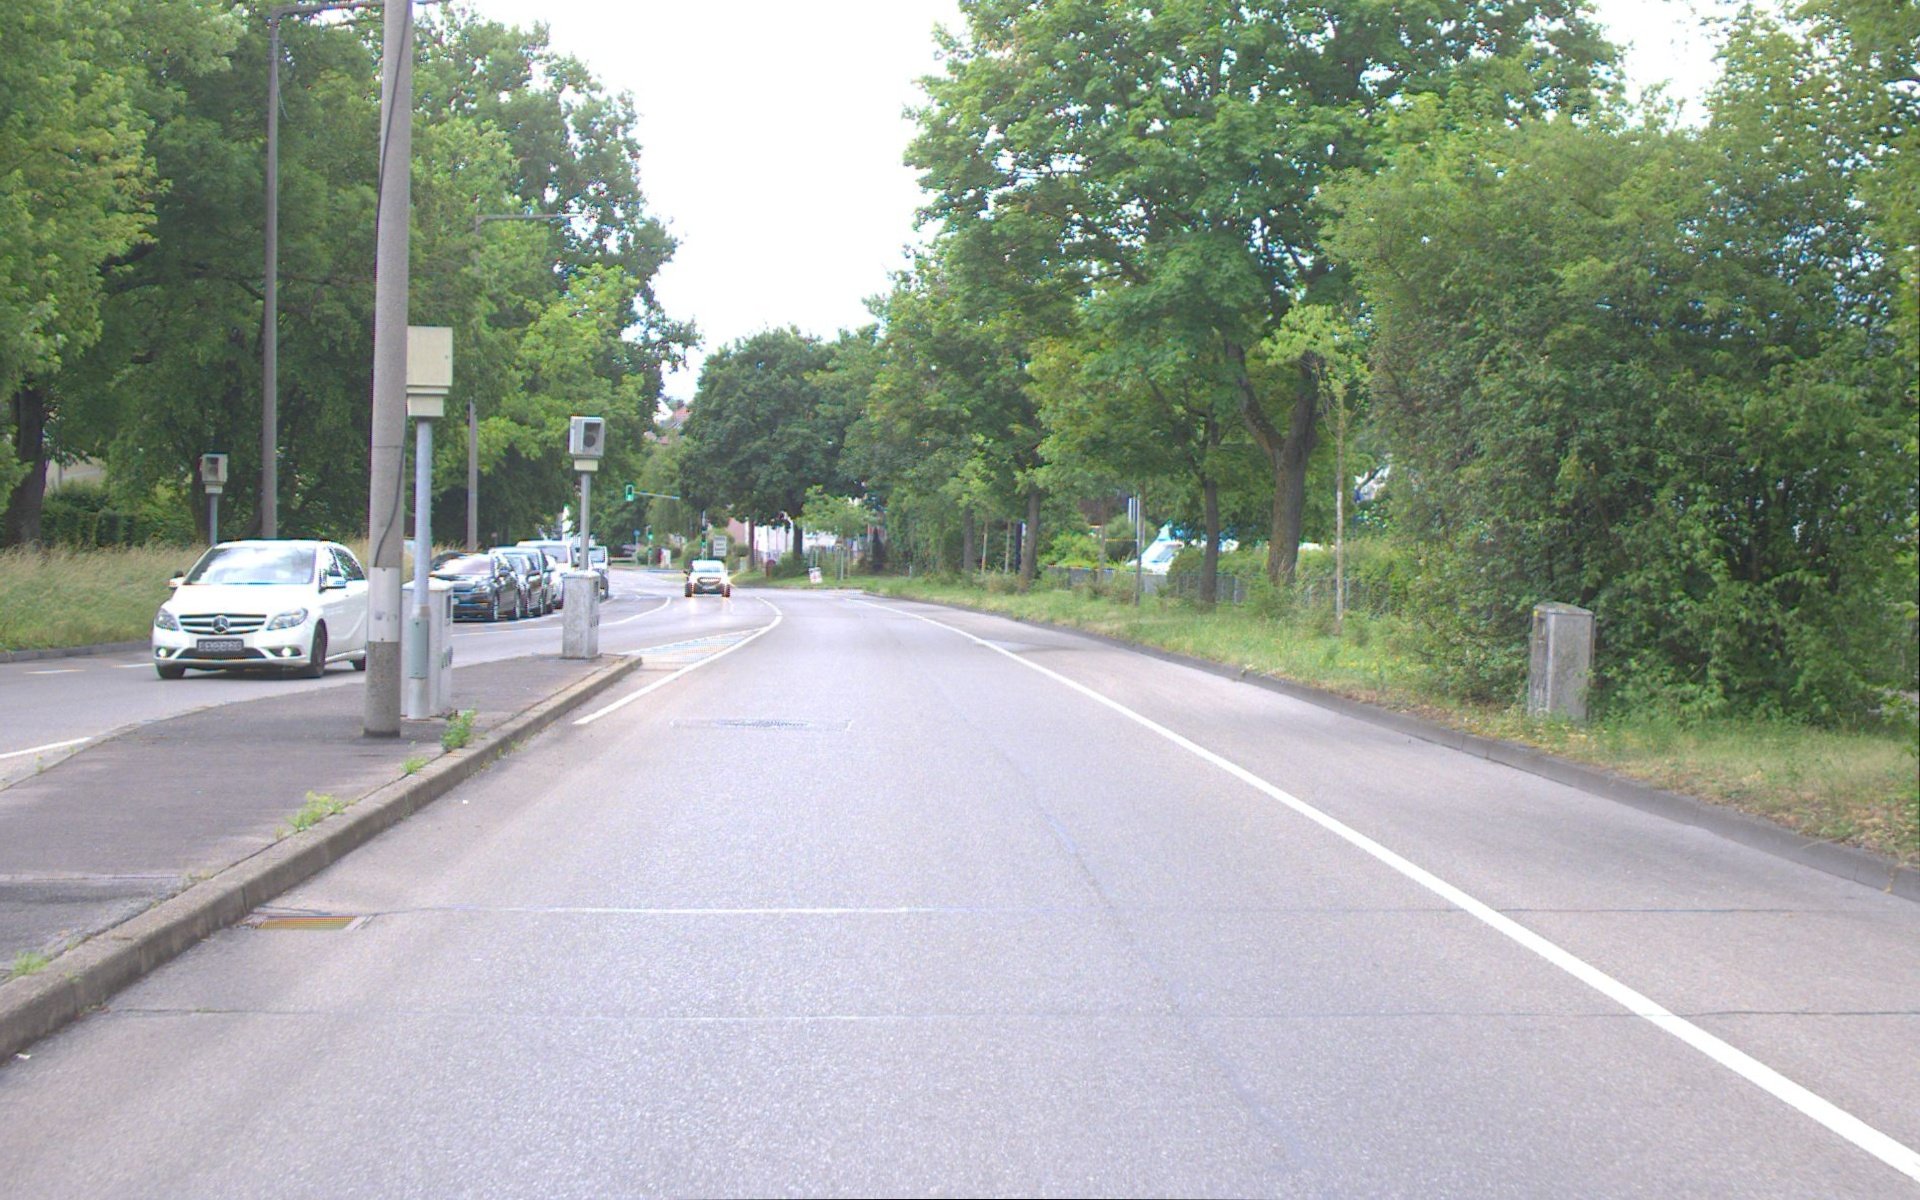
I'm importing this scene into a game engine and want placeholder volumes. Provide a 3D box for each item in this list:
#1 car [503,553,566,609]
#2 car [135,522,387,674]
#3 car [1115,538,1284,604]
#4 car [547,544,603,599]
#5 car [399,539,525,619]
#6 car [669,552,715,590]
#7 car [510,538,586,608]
[{"bbox_3d":[-11.604,-0.529,93.765,1.634,1.428,3.951,2,1,-7],"label":"car"},{"bbox_3d":[-7.801,-0.010,38.770,1.875,1.565,4.339,2,0,1],"label":"car"},{"bbox_3d":[9.140,-1.103,131.028,6.009,2.359,2.363,2,0,-27],"label":"car"},{"bbox_3d":[-14.020,-1.034,125.441,1.866,1.957,5.128,1,0,-5],"label":"car"},{"bbox_3d":[-10.265,-0.438,71.183,1.875,1.565,4.651,1,0,0],"label":"car"},{"bbox_3d":[-10.511,-1.144,135.150,1.637,1.462,4.000,0,0,-2],"label":"car"},{"bbox_3d":[-11.923,-0.814,99.722,1.768,1.924,5.156,2,1,-3],"label":"car"}]
